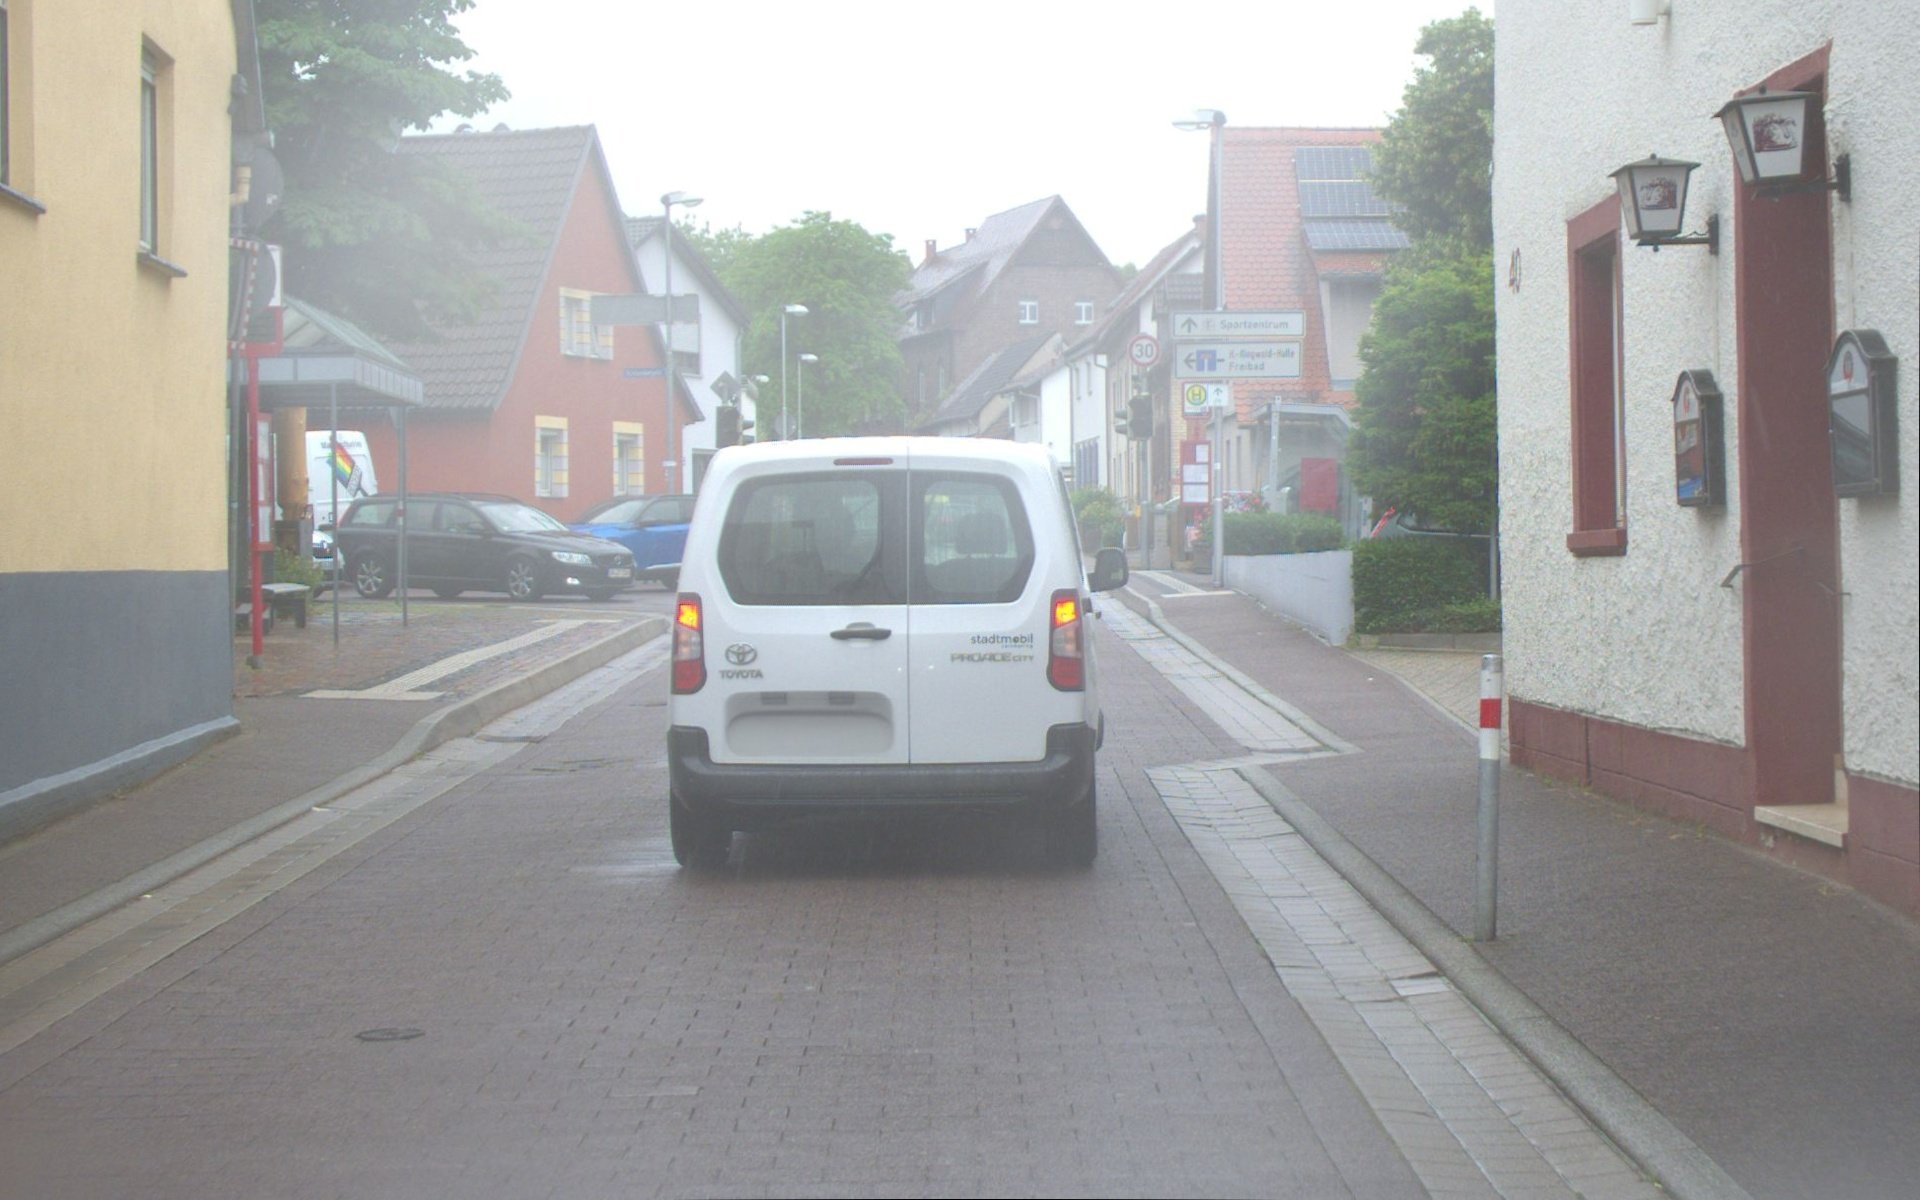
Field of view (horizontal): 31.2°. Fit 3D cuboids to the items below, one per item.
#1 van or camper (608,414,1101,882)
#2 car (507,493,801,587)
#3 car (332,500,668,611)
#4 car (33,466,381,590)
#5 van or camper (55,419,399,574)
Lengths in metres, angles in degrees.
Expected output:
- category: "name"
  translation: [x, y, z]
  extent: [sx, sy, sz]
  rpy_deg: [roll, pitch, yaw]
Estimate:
- category: "van or camper"
  translation: [-0.486, 0.157, 15.689]
  extent: [1.943, 1.845, 4.000]
  rpy_deg: [1, 1, -2]
- category: "car"
  translation: [-4.720, -0.938, 53.212]
  extent: [3.988, 1.368, 2.110]
  rpy_deg: [-2, 0, -37]
- category: "car"
  translation: [-6.439, -0.633, 48.128]
  extent: [4.305, 1.472, 1.848]
  rpy_deg: [1, 1, 21]
- category: "car"
  translation: [-10.530, -1.040, 48.064]
  extent: [4.451, 1.544, 1.881]
  rpy_deg: [2, 4, 21]
- category: "van or camper"
  translation: [-11.909, -1.675, 55.825]
  extent: [5.149, 2.427, 2.208]
  rpy_deg: [0, 3, 26]
